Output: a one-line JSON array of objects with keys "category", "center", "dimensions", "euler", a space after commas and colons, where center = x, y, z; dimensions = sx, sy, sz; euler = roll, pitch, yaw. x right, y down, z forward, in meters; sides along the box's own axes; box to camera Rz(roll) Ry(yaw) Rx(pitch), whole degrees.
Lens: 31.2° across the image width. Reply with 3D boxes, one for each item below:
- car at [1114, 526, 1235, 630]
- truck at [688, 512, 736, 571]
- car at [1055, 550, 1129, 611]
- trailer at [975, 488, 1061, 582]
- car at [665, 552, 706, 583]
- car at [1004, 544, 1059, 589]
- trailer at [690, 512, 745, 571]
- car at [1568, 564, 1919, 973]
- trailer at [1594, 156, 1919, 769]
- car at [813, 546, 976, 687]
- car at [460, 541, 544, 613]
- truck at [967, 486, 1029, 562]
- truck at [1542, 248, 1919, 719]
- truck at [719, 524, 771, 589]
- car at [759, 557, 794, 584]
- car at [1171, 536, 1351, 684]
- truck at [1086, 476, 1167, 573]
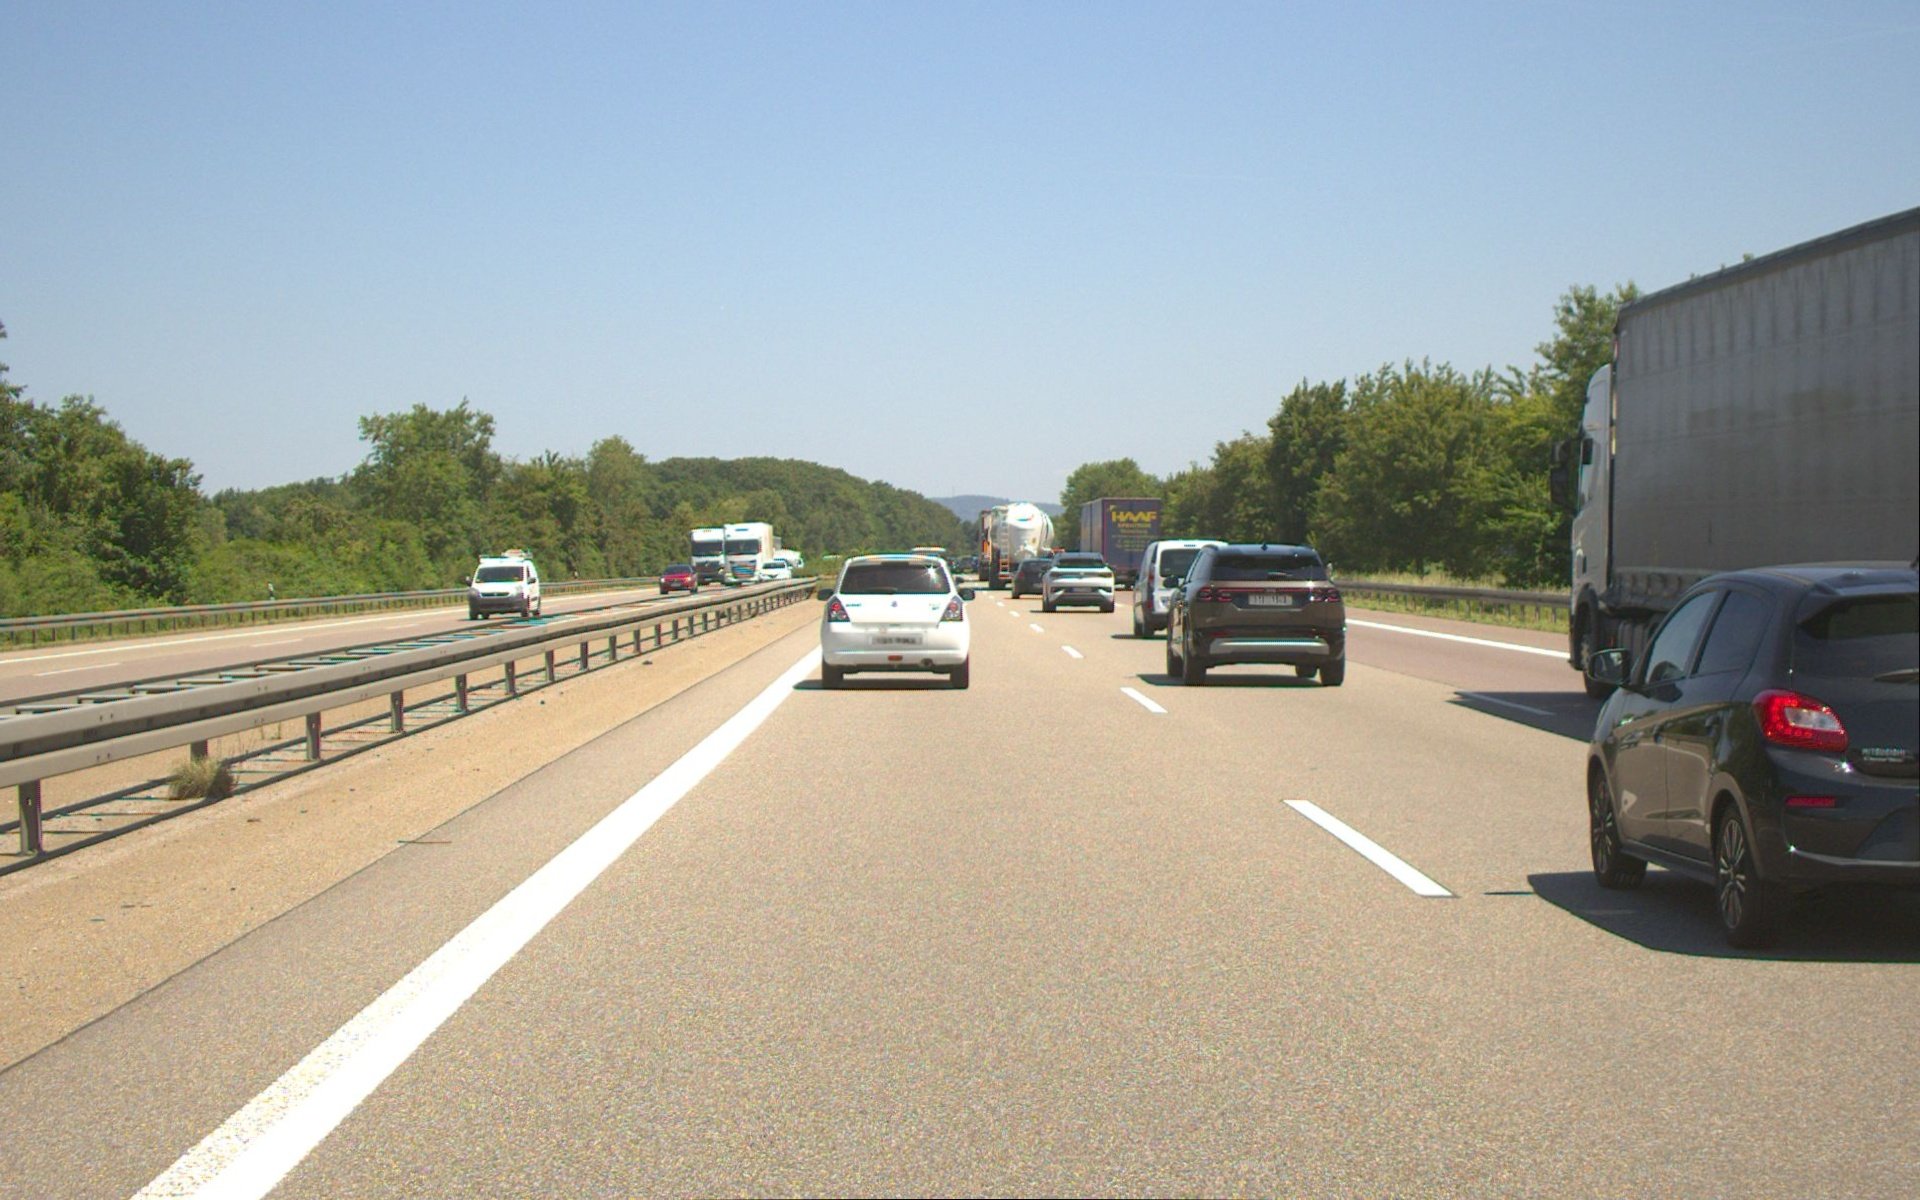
[{"category": "car", "center": [3.983, -0.419, 64.530], "dimensions": [1.853, 1.856, 4.702], "euler": [1, 1, -1]}, {"category": "truck", "center": [-17.842, -4.197, 247.832], "dimensions": [2.757, 4.089, 6.152], "euler": [-3, 1, 0]}, {"category": "car", "center": [3.556, -0.542, 93.225], "dimensions": [1.802, 1.597, 4.381], "euler": [1, 1, 0]}, {"category": "trailer", "center": [2.560, -2.900, 156.424], "dimensions": [2.911, 4.055, 12.420], "euler": [1, 1, -3]}, {"category": "car", "center": [-13.880, -1.647, 174.194], "dimensions": [1.772, 1.412, 4.111], "euler": [-3, 1, -1]}, {"category": "car", "center": [2.497, -1.180, 121.155], "dimensions": [1.850, 1.518, 3.957], "euler": [1, 1, 0]}, {"category": "trailer", "center": [-17.834, -4.266, 253.510], "dimensions": [2.757, 4.089, 14.053], "euler": [-3, 1, 0]}, {"category": "car", "center": [3.701, 0.599, 14.154], "dimensions": [1.687, 1.468, 3.433], "euler": [1, 1, -1]}, {"category": "trailer", "center": [8.087, -1.003, 28.700], "dimensions": [2.810, 4.290, 14.255], "euler": [1, 1, 0]}, {"category": "car", "center": [-0.753, 0.159, 39.980], "dimensions": [1.799, 1.547, 3.610], "euler": [1, 1, -1]}, {"category": "car", "center": [-13.695, -0.695, 103.020], "dimensions": [1.788, 2.007, 4.380], "euler": [-3, 0, 1]}, {"category": "truck", "center": [2.225, -4.338, 198.777], "dimensions": [3.394, 4.199, 12.083], "euler": [1, 1, 1]}, {"category": "truck", "center": [8.027, -1.102, 35.058], "dimensions": [2.810, 4.290, 7.193], "euler": [1, 1, -1]}, {"category": "truck", "center": [-14.076, -2.832, 225.246], "dimensions": [2.740, 4.071, 6.217], "euler": [-2, 1, 1]}, {"category": "car", "center": [-10.187, -1.628, 190.694], "dimensions": [1.719, 1.417, 3.898], "euler": [-3, 0, -1]}, {"category": "car", "center": [3.589, 0.086, 41.688], "dimensions": [1.867, 1.669, 4.746], "euler": [1, 1, 2]}, {"category": "truck", "center": [7.452, -3.332, 156.004], "dimensions": [3.109, 4.124, 15.511], "euler": [1, 1, 1]}]
